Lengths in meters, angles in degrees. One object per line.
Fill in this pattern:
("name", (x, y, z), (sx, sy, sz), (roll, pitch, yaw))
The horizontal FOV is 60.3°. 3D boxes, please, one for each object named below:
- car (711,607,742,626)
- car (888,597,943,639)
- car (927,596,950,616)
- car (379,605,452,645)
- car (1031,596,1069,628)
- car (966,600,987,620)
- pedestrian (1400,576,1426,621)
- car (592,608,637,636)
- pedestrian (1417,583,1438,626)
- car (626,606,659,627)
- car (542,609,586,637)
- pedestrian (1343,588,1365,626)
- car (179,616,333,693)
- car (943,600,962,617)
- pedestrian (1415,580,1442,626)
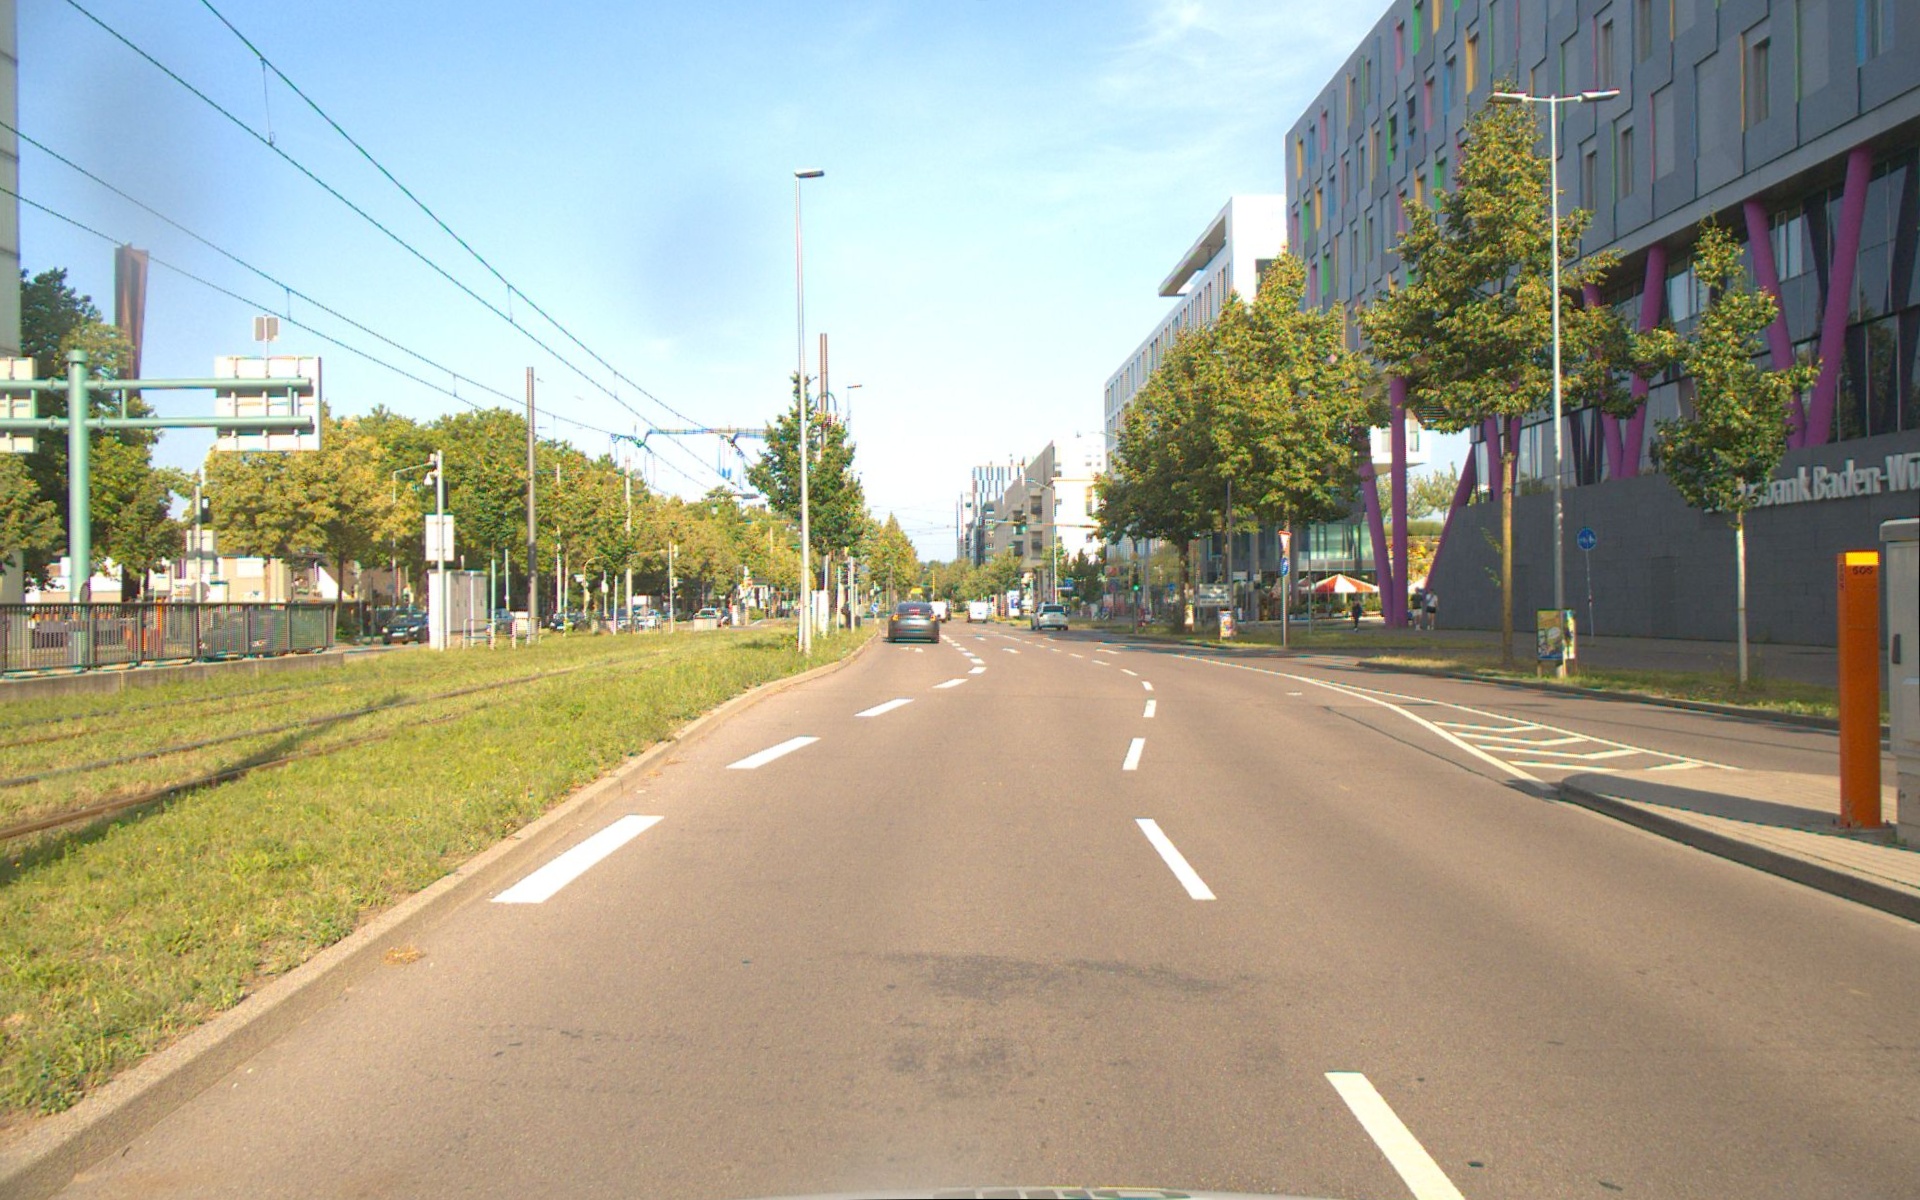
("car", (-19.008, 1.356, 134.783), (1.953, 1.530, 4.092), (-1, -1, -1))
("car", (-1.648, 0.633, 60.158), (1.852, 1.410, 4.332), (1, 0, -3))
("car", (-1.903, 0.566, 147.536), (1.974, 1.713, 3.999), (1, 0, -1))
("car", (-25.056, 1.119, 76.334), (1.953, 1.717, 4.724), (-1, 0, -2))
("car", (4.975, 0.635, 91.804), (1.826, 1.713, 3.999), (1, 0, -1))
("car", (1.499, 0.907, 151.668), (1.826, 1.713, 3.999), (1, 0, -1))
("pedestrian", (18.899, -0.054, 69.076), (0.739, 1.825, 0.843), (-3, 0, -3))
("car", (-22.633, 1.434, 108.500), (1.954, 1.554, 4.910), (-4, 1, -3))
("pedestrian", (19.542, 0.190, 69.167), (0.643, 1.825, 0.786), (0, 0, -3))
("car", (-25.746, 1.320, 134.192), (1.867, 1.554, 4.440), (-1, 0, -2))
("car", (-25.715, 1.465, 107.516), (1.953, 1.717, 4.614), (-1, 0, -2))
("pedestrian", (17.594, 0.299, 73.853), (0.680, 1.667, 0.736), (-3, 0, -3))
("car", (-17.377, 1.293, 41.106), (1.953, 1.717, 4.724), (-1, 0, -2))
("car", (-0.757, 0.906, 174.246), (1.885, 1.713, 3.999), (1, 0, -1))
("pedestrian", (19.556, 0.128, 69.074), (0.752, 1.857, 0.852), (-3, 0, -3))
